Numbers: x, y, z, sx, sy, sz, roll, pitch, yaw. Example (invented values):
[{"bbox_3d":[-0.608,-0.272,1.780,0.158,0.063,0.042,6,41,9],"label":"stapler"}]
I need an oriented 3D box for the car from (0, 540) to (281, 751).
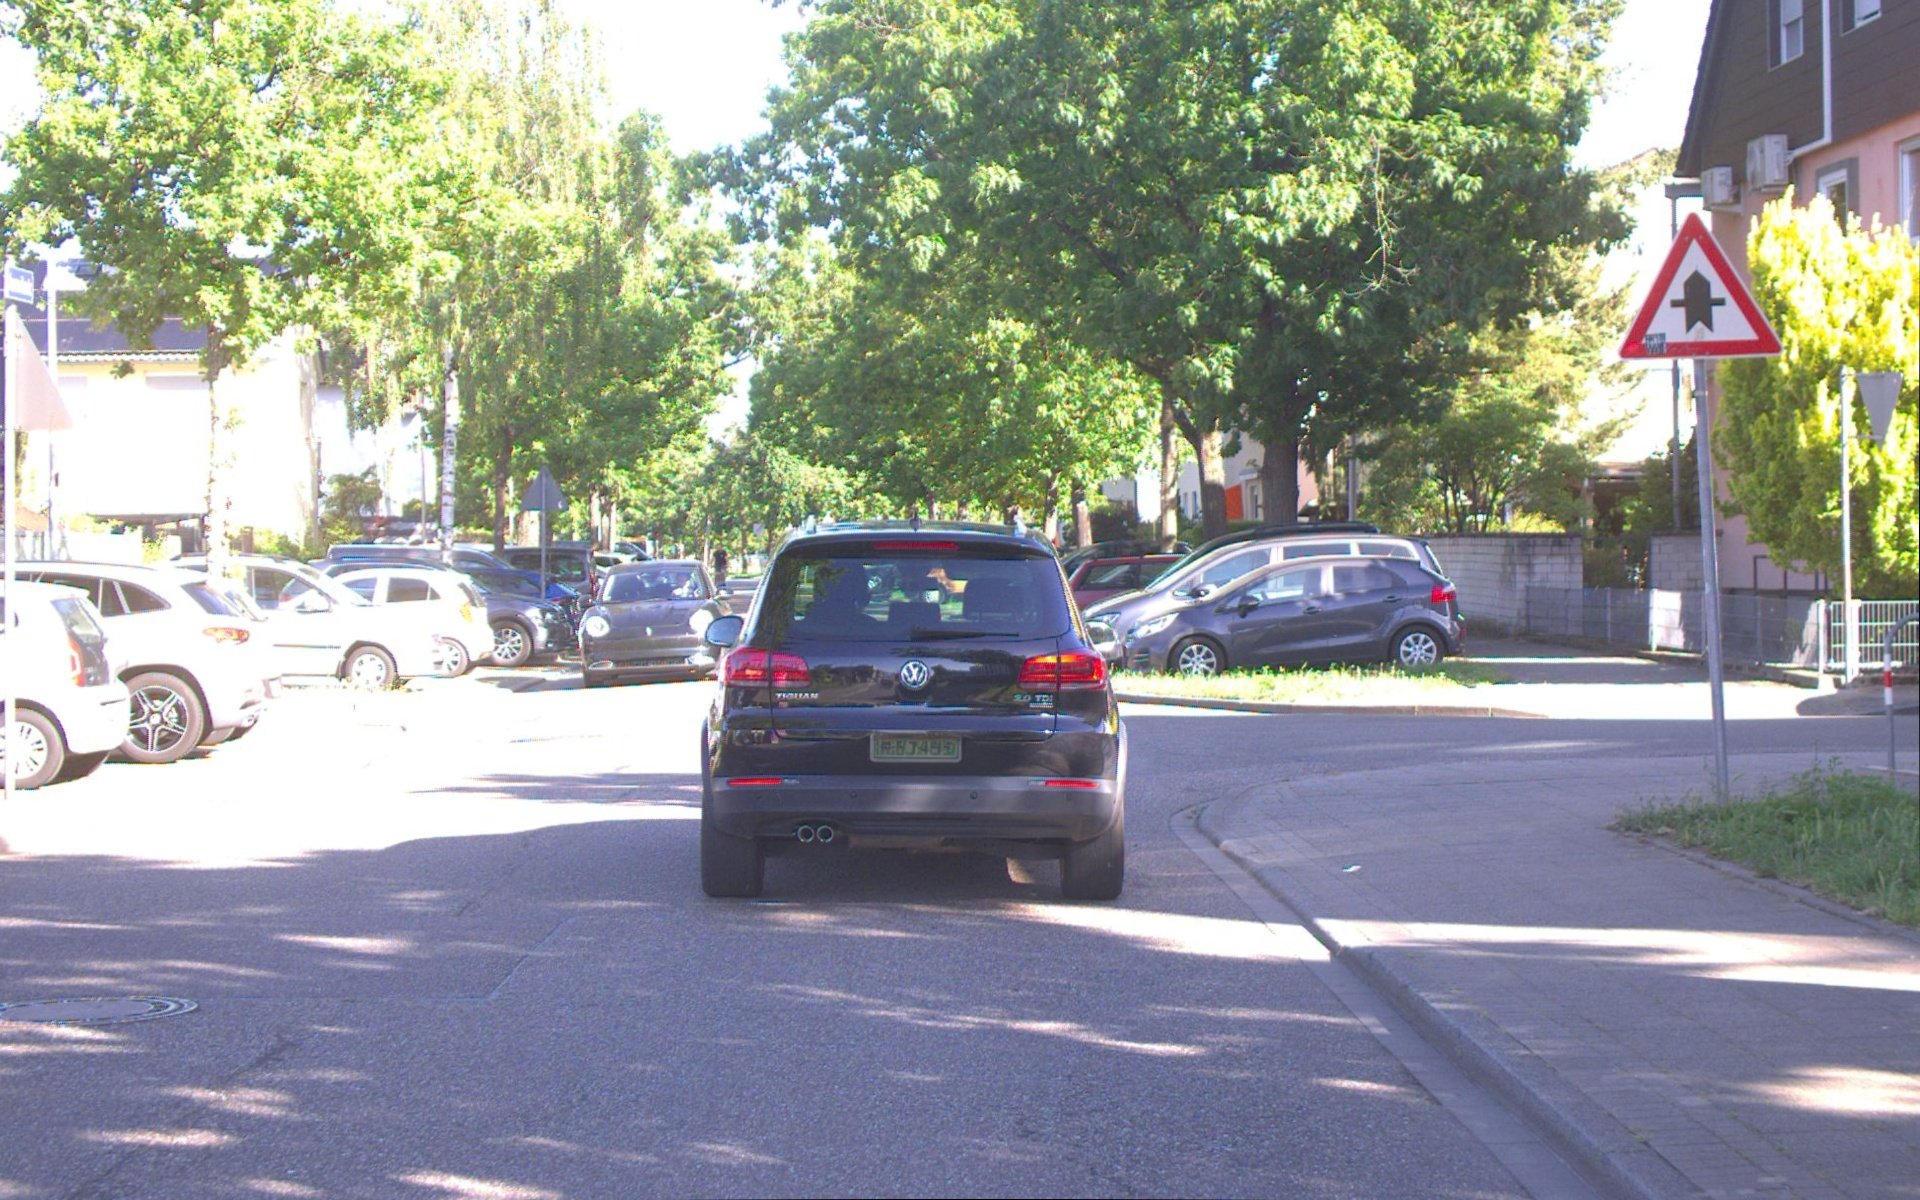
[{"bbox_3d":[-7.326,0.348,27.569,3.548,1.608,1.853,-1,1,-7],"label":"car"}]

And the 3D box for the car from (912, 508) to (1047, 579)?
[{"bbox_3d":[0.565,-1.681,102.895,3.987,2.007,2.000,-1,-1,-1],"label":"car"}]

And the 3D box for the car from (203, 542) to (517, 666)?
[{"bbox_3d":[-8.276,0.040,47.696,3.987,1.634,2.000,-1,1,0],"label":"car"}]

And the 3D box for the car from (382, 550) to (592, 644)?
[{"bbox_3d":[-7.823,-0.063,57.062,3.370,1.485,1.644,-1,1,-5],"label":"car"}]

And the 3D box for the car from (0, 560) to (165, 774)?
[{"bbox_3d":[-7.738,0.482,24.882,3.549,1.472,1.808,-1,1,-2],"label":"car"}]

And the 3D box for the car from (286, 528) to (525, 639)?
[{"bbox_3d":[-9.619,-0.305,59.884,3.986,1.830,1.638,-1,1,-6],"label":"car"}]

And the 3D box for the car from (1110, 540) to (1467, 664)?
[{"bbox_3d":[3.843,0.006,40.665,3.986,1.364,1.847,-1,1,-2],"label":"car"}]

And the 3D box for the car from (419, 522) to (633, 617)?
[{"bbox_3d":[-9.057,-0.630,72.007,4.389,1.932,1.579,-1,0,-6],"label":"car"}]

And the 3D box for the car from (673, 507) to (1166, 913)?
[{"bbox_3d":[-0.348,0.409,16.351,1.929,1.649,4.515,1,1,-6],"label":"car"}]

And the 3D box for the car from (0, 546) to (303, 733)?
[{"bbox_3d":[-7.670,0.337,30.266,3.548,1.552,1.853,-1,1,-6],"label":"car"}]

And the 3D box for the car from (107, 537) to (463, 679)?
[{"bbox_3d":[-8.260,0.077,42.355,3.987,1.664,2.000,-1,1,0],"label":"car"}]

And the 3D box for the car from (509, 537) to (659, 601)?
[{"bbox_3d":[-10.398,-0.863,94.969,3.986,1.678,1.924,-1,1,-9],"label":"car"}]

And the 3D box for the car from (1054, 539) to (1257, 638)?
[{"bbox_3d":[3.114,-0.189,54.949,3.043,1.502,1.247,-1,1,-7],"label":"car"}]

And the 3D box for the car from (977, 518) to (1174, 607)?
[{"bbox_3d":[2.388,-0.789,71.591,3.987,1.769,1.790,-1,1,-1],"label":"car"}]

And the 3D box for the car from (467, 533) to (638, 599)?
[{"bbox_3d":[-10.054,-0.829,84.979,3.987,1.493,2.000,-1,-1,-1],"label":"car"}]

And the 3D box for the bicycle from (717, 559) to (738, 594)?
[{"bbox_3d":[-7.938,-0.792,117.183,0.637,1.159,1.741,-1,-1,-5],"label":"bicycle"}]

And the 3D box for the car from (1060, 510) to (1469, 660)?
[{"bbox_3d":[4.039,-0.216,46.207,5.259,1.939,2.000,0,1,-2],"label":"car"}]

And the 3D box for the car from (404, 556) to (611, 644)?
[{"bbox_3d":[-9.117,-0.001,69.529,3.986,1.714,1.821,-1,0,-2],"label":"car"}]

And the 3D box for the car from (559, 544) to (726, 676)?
[{"bbox_3d":[-4.049,0.089,44.351,1.909,1.550,4.001,-2,1,-3],"label":"car"}]

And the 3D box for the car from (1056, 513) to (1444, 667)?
[{"bbox_3d":[3.593,-0.140,43.157,4.632,1.803,1.824,-1,1,-2],"label":"car"}]

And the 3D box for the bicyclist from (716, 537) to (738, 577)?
[{"bbox_3d":[-7.955,-1.480,117.243,0.700,1.341,0.506,-1,-1,-6],"label":"bicyclist"}]

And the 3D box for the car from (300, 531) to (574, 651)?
[{"bbox_3d":[-7.934,-0.152,52.464,3.986,1.725,2.000,-1,1,-5],"label":"car"}]
